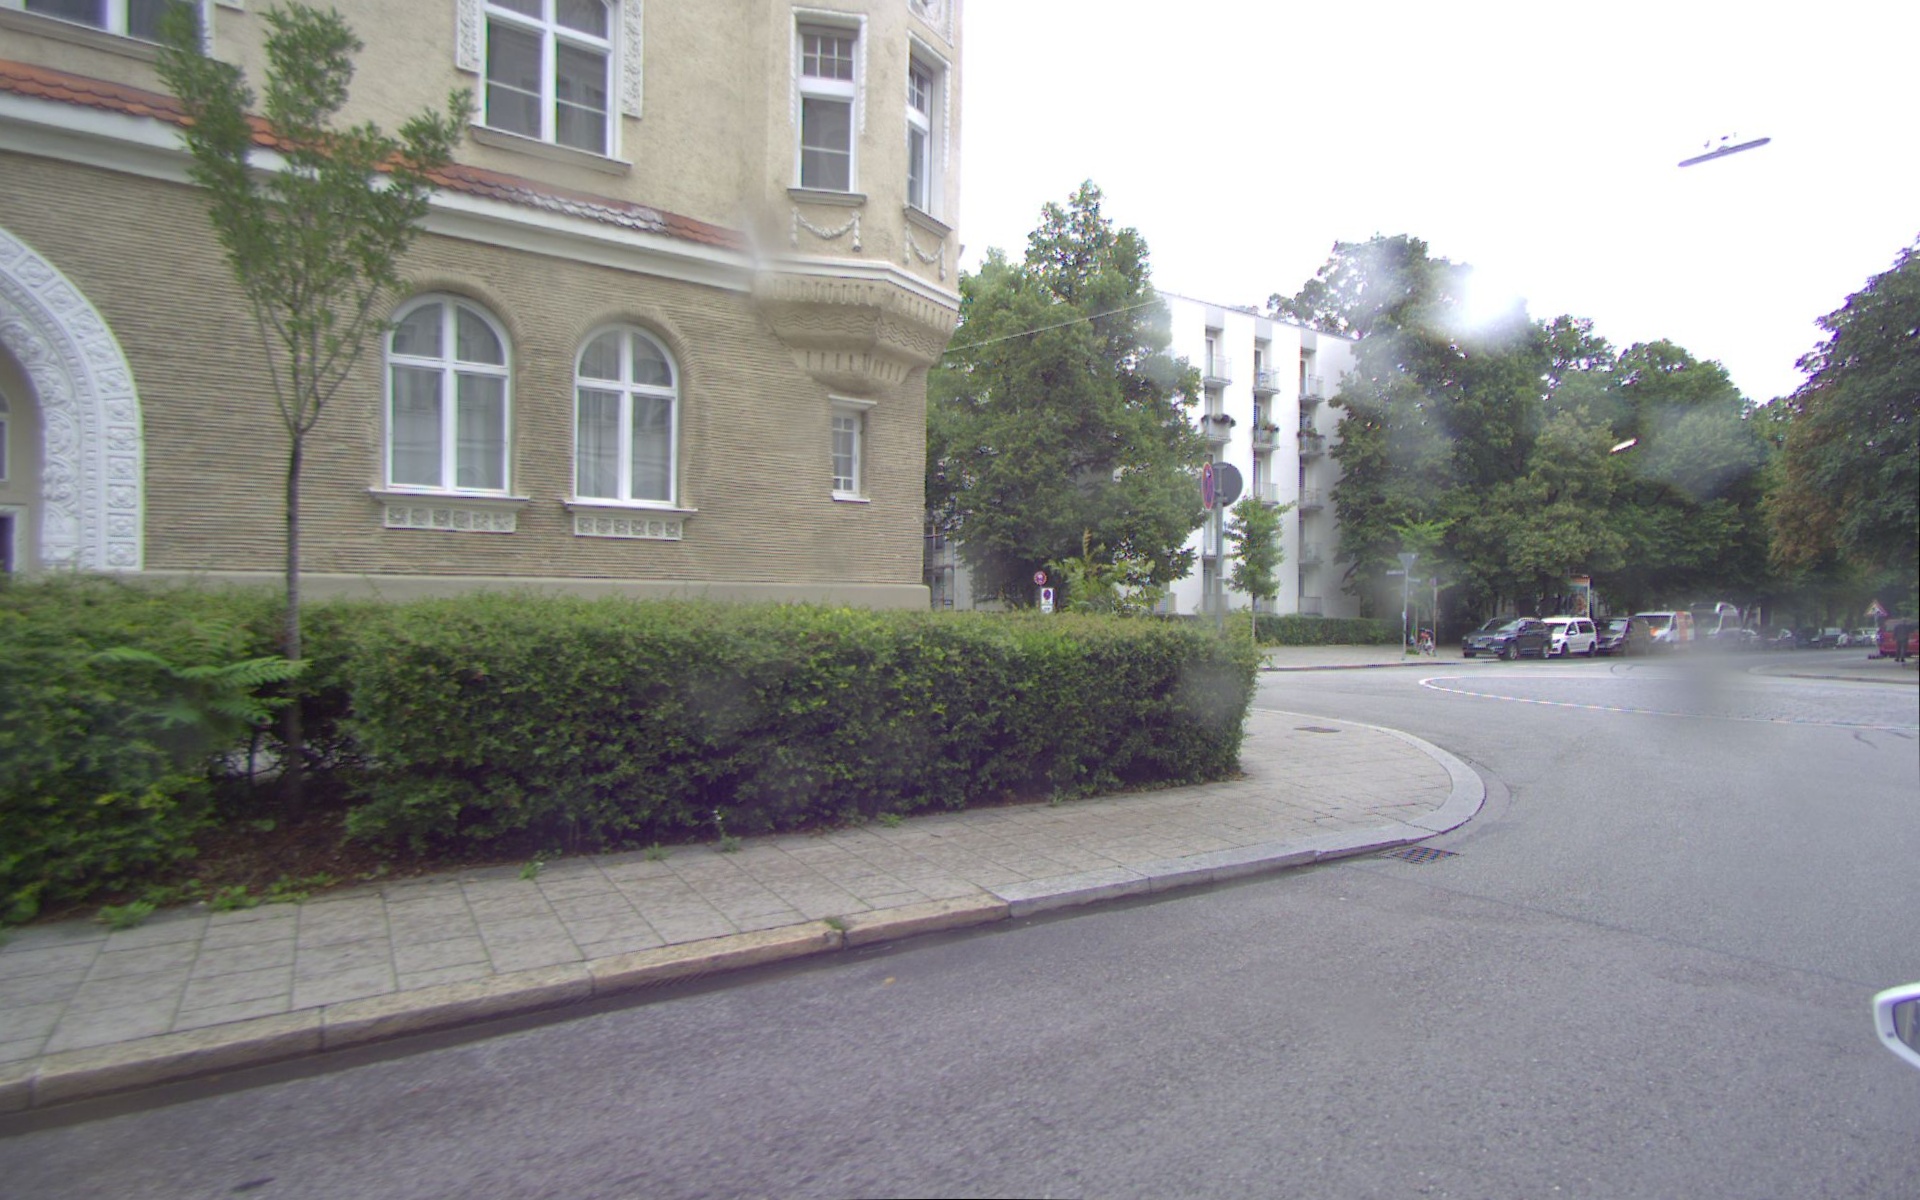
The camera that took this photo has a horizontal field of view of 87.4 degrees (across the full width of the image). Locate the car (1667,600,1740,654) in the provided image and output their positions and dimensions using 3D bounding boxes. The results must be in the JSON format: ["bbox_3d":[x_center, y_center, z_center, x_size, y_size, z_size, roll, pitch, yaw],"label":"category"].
[{"bbox_3d":[44.466,1.602,59.989,6.182,3.042,2.154,1,-1,-40],"label":"car"}]

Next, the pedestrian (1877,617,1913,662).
[{"bbox_3d":[38.820,1.629,41.712,0.807,1.860,0.951,0,-1,24],"label":"pedestrian"}]

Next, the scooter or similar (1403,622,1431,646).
[{"bbox_3d":[24.104,1.796,52.973,1.645,1.207,0.695,1,-1,-41],"label":"scooter or similar"}]

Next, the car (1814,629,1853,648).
[{"bbox_3d":[71.916,3.128,82.715,4.099,1.506,1.975,2,-1,-42],"label":"car"}]

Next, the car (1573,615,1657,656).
[{"bbox_3d":[32.508,1.745,49.788,5.622,1.933,2.009,2,-2,-41],"label":"car"}]

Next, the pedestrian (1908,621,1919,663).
[{"bbox_3d":[39.156,1.697,40.927,0.624,1.689,0.696,0,-1,29],"label":"pedestrian"}]

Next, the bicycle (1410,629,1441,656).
[{"bbox_3d":[19.940,1.812,43.014,0.742,1.099,1.775,0,-1,41],"label":"bicycle"}]

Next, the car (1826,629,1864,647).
[{"bbox_3d":[76.092,3.266,86.355,4.099,1.506,1.975,2,-1,-42],"label":"car"}]

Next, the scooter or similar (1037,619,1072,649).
[{"bbox_3d":[3.362,1.192,35.569,1.303,1.038,0.521,1,-1,-45],"label":"scooter or similar"}]

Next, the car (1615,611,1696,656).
[{"bbox_3d":[37.644,1.815,54.297,5.554,2.294,2.067,1,-3,-39],"label":"car"}]

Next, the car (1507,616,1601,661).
[{"bbox_3d":[26.957,1.706,45.509,4.815,1.929,2.068,1,-1,-38],"label":"car"}]

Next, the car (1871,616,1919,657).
[{"bbox_3d":[48.003,1.831,51.115,4.931,1.962,1.894,2,-1,-41],"label":"car"}]

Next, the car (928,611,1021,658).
[{"bbox_3d":[0.483,1.216,36.524,1.657,1.548,3.643,-2,1,-33],"label":"car"}]

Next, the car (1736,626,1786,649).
[{"bbox_3d":[53.236,2.482,66.729,4.099,1.439,1.975,2,-1,-42],"label":"car"}]

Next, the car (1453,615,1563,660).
[{"bbox_3d":[22.996,1.543,42.083,5.255,1.742,2.069,1,-1,-37],"label":"car"}]

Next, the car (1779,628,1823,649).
[{"bbox_3d":[63.404,2.857,75.714,4.099,1.506,1.975,2,-1,-42],"label":"car"}]
